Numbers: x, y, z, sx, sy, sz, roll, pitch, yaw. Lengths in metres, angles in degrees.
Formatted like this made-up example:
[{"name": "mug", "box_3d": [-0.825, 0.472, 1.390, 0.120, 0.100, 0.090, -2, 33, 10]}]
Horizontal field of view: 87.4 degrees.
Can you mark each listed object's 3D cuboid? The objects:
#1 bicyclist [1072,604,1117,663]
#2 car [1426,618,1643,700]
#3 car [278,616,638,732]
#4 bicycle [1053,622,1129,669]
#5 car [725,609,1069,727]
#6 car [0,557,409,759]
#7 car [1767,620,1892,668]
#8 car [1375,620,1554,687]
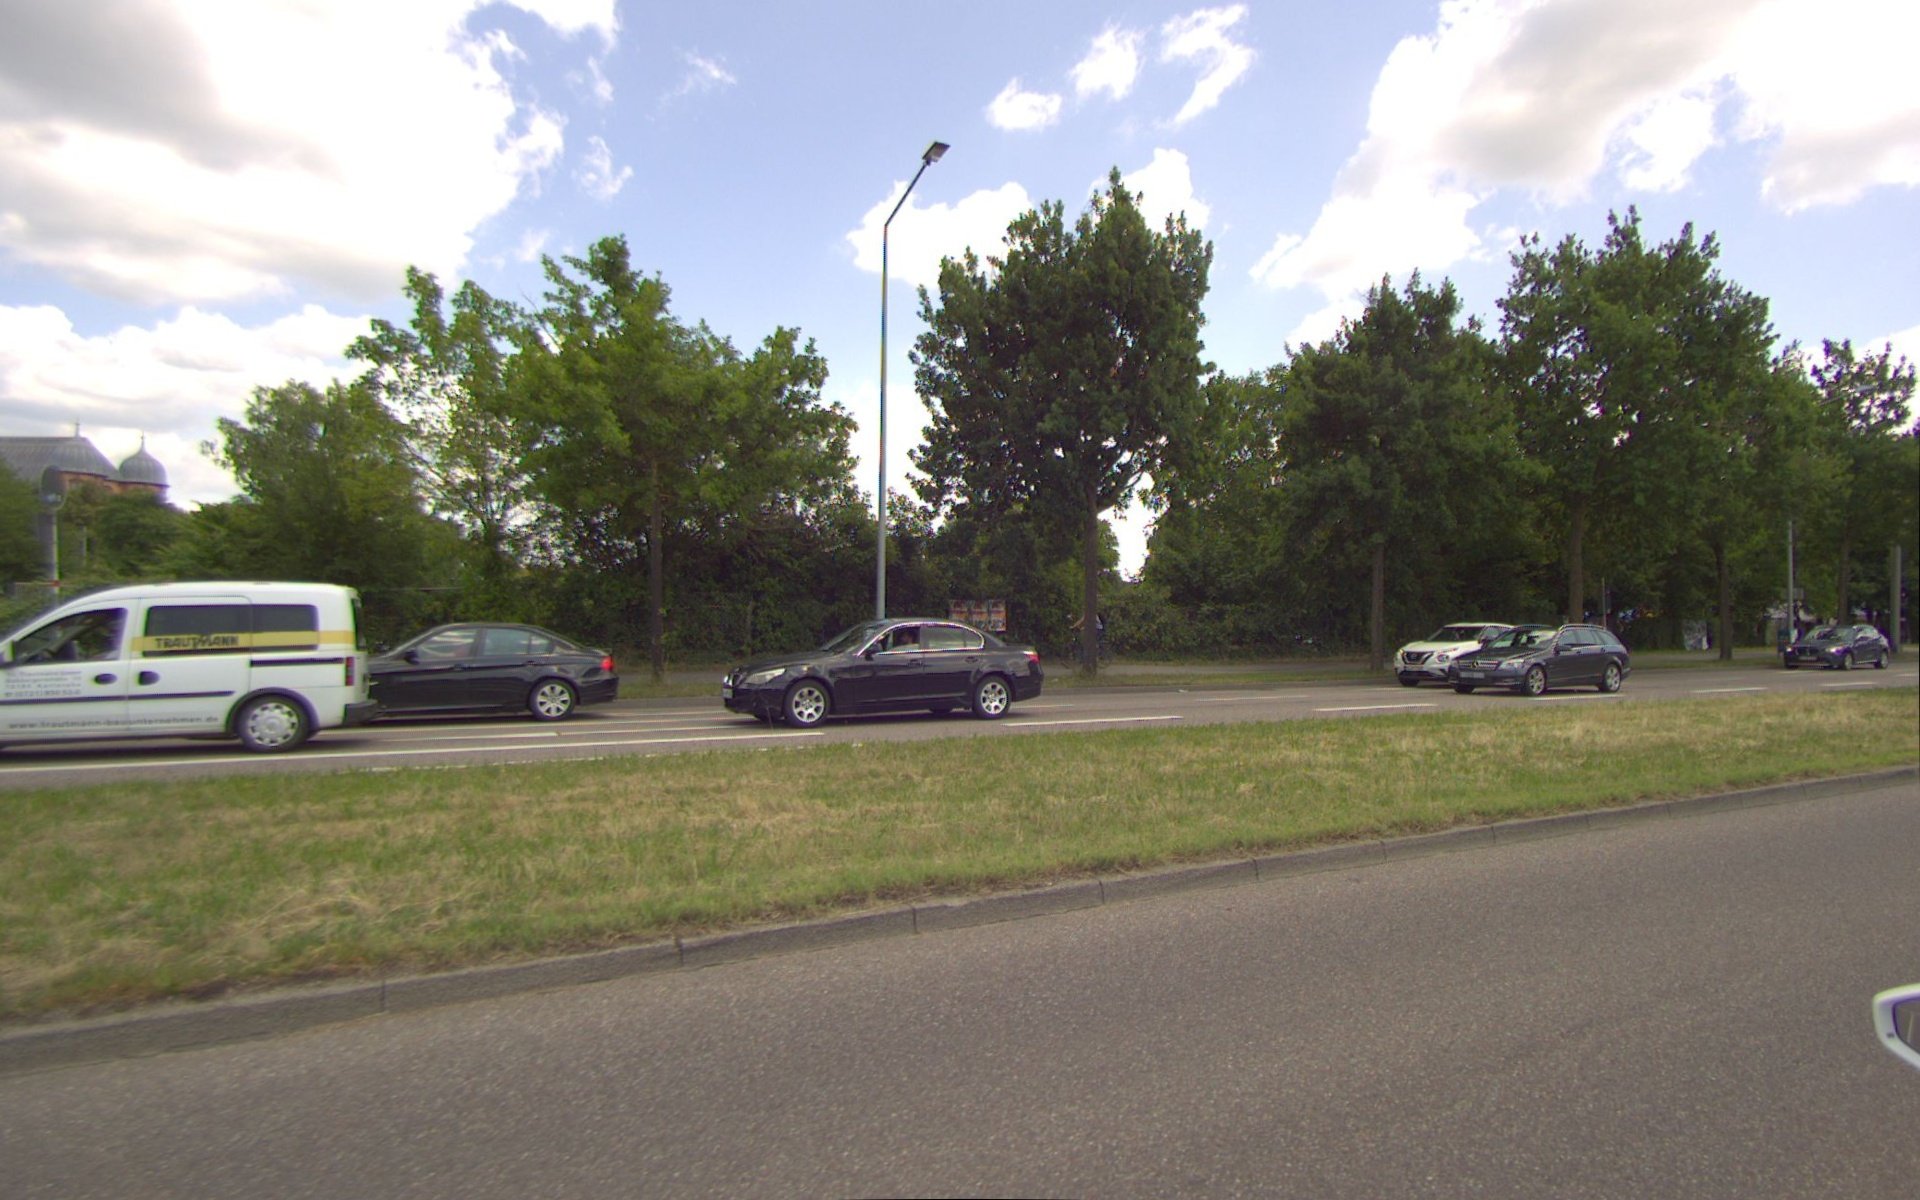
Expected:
[{"name": "bicyclist", "box_3d": [3.733, 0.925, 27.824, 0.872, 1.586, 0.826, 1, 1, -28]}, {"name": "car", "box_3d": [12.380, 1.207, 21.568, 4.951, 1.612, 1.715, 1, -1, -29]}, {"name": "car", "box_3d": [-7.067, 1.013, 14.511, 4.362, 1.462, 1.831, 1, -3, -27]}, {"name": "bicycle", "box_3d": [3.638, 1.252, 27.792, 1.992, 1.235, 0.757, 1, 1, -29]}, {"name": "car", "box_3d": [-0.863, 0.947, 14.654, 4.694, 1.499, 1.831, 1, -3, -28]}, {"name": "car", "box_3d": [-8.372, 0.572, 10.246, 4.726, 1.823, 1.831, 1, -3, -27]}, {"name": "car", "box_3d": [30.848, 1.529, 35.605, 4.970, 1.598, 1.756, 1, -1, -29]}, {"name": "car", "box_3d": [12.637, 1.284, 25.146, 4.314, 1.561, 1.902, 1, -1, -29]}]
